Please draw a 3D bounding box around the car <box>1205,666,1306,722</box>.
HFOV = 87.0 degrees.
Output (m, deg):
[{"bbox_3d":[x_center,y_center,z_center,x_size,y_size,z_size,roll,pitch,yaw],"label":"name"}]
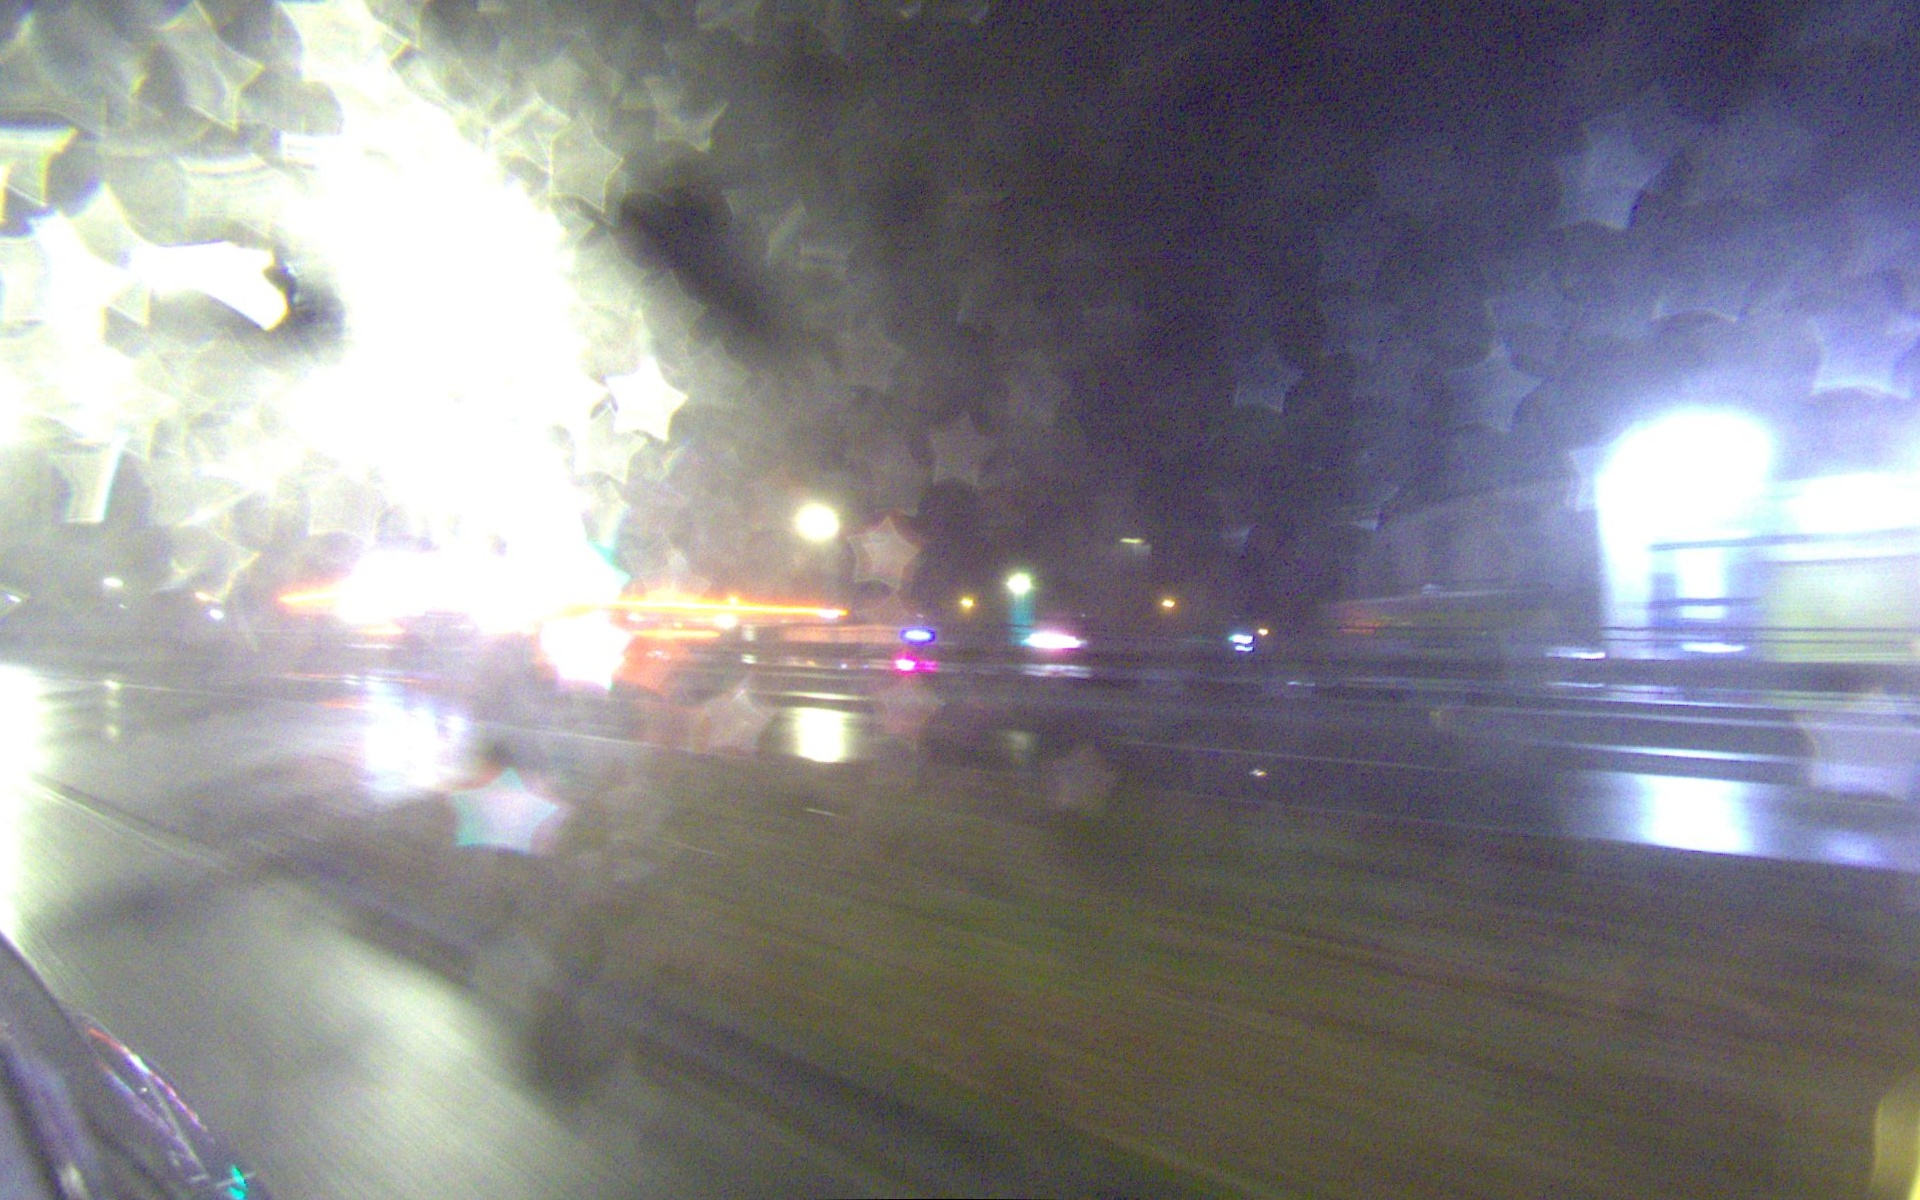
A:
[{"bbox_3d":[10.137,3.223,34.549,1.798,1.736,4.372,-2,-6,38],"label":"car"}]
